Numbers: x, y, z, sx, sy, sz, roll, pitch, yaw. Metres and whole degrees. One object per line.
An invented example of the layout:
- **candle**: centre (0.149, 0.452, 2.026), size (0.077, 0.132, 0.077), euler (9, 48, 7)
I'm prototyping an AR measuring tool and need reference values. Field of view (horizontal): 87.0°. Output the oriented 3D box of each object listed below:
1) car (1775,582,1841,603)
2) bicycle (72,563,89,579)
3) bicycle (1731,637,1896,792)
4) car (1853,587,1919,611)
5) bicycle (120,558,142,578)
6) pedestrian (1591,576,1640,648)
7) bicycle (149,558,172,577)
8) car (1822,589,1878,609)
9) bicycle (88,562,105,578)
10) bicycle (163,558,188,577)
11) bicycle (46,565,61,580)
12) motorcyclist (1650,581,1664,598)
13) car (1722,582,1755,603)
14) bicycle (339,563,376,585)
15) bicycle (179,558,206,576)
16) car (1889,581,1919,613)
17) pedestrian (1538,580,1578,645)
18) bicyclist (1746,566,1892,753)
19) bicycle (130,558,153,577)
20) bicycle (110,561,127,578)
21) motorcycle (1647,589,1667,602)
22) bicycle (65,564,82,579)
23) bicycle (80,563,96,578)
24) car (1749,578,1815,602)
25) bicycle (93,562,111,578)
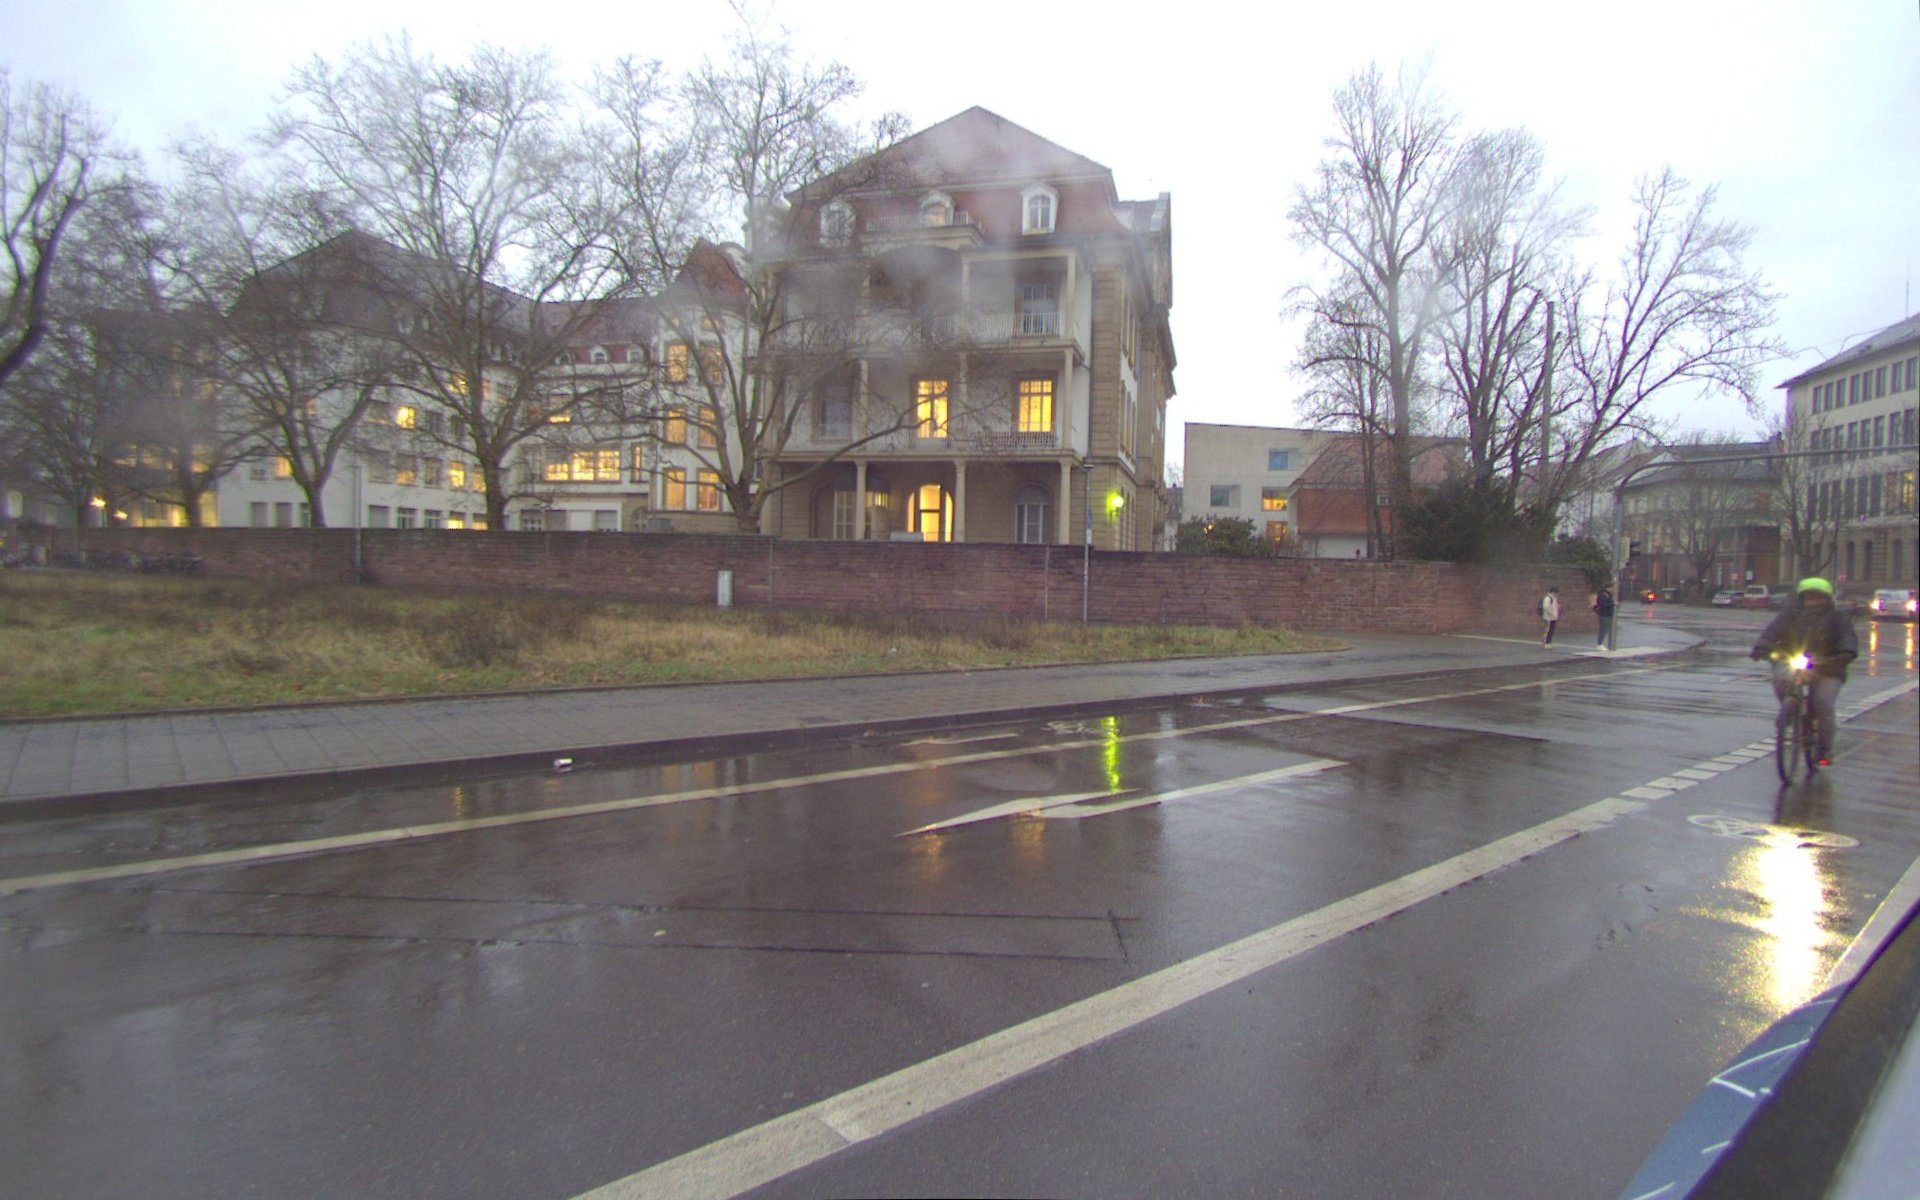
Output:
- **car**: centre (64.695, -0.592, 77.228), size (3.916, 1.570, 1.805), euler (0, 0, -13)
- **bicycle**: centre (-46.676, -1.538, 53.720), size (1.522, 0.796, 0.389), euler (0, 0, 38)
- **bicycle**: centre (7.311, 0.907, 8.635), size (1.923, 1.088, 0.784), euler (-1, 0, -41)
- **car**: centre (61.959, -0.066, 67.008), size (3.927, 1.570, 1.800), euler (0, 0, 4)
- **bicycle**: centre (-39.912, -1.541, 48.722), size (1.519, 0.928, 0.389), euler (0, 0, 33)
- **pedestrian**: centre (18.319, 0.320, 28.289), size (0.996, 1.924, 0.664), euler (4, 3, 41)
- **bicycle**: centre (-37.034, -1.499, 46.885), size (1.480, 0.849, 0.346), euler (0, 0, 32)
- **car**: centre (63.598, -0.088, 72.302), size (3.568, 1.322, 1.712), euler (-1, 0, -25)
- **bicycle**: centre (-44.182, -1.532, 51.768), size (1.522, 0.796, 0.389), euler (0, 0, 38)
- **bicycle**: centre (-35.554, -1.470, 45.860), size (1.519, 0.796, 0.389), euler (0, 0, 33)
- **bicycle**: centre (-51.613, -1.549, 57.593), size (1.522, 0.796, 0.389), euler (0, 0, 38)
- **motorcyclist**: centre (61.001, -0.932, 88.546), size (0.691, 1.400, 0.863), euler (2, 2, 15)
- **car**: centre (66.476, -0.652, 86.390), size (1.992, 1.690, 3.940), euler (0, 1, 42)
- **bicycle**: centre (-23.388, -0.989, 39.272), size (1.366, 0.835, 0.392), euler (0, 0, 14)
- **bicycle**: centre (-34.214, -1.470, 45.110), size (1.399, 0.796, 0.355), euler (0, 0, 26)
- **car**: centre (57.508, -0.192, 61.036), size (3.932, 1.868, 1.880), euler (-1, 0, -43)
- **pedestrian**: centre (16.661, 0.330, 28.197), size (0.795, 1.744, 0.665), euler (3, 3, 39)
- **bicyclist**: centre (7.330, 0.460, 8.633), size (1.114, 1.471, 0.784), euler (0, 0, -41)
- **bicycle**: centre (-38.630, -1.509, 47.768), size (1.519, 0.869, 0.389), euler (0, 0, 33)
- **bicycle**: centre (-41.478, -1.478, 49.876), size (1.599, 0.796, 0.388), euler (0, 0, 41)
- **motorcycle**: centre (60.975, -0.383, 88.532), size (0.703, 1.067, 2.158), euler (3, 2, 15)
- **bicycle**: centre (-47.900, -1.540, 54.674), size (1.522, 0.796, 0.389), euler (0, 0, 38)
- **bicycle**: centre (-45.446, -1.534, 52.741), size (1.522, 0.796, 0.389), euler (0, 0, 38)
- **car**: centre (64.977, -0.798, 80.025), size (3.916, 1.924, 2.052), euler (0, 0, -13)
- **bicycle**: centre (-43.135, -1.497, 50.897), size (1.522, 0.796, 0.389), euler (0, 0, 38)
